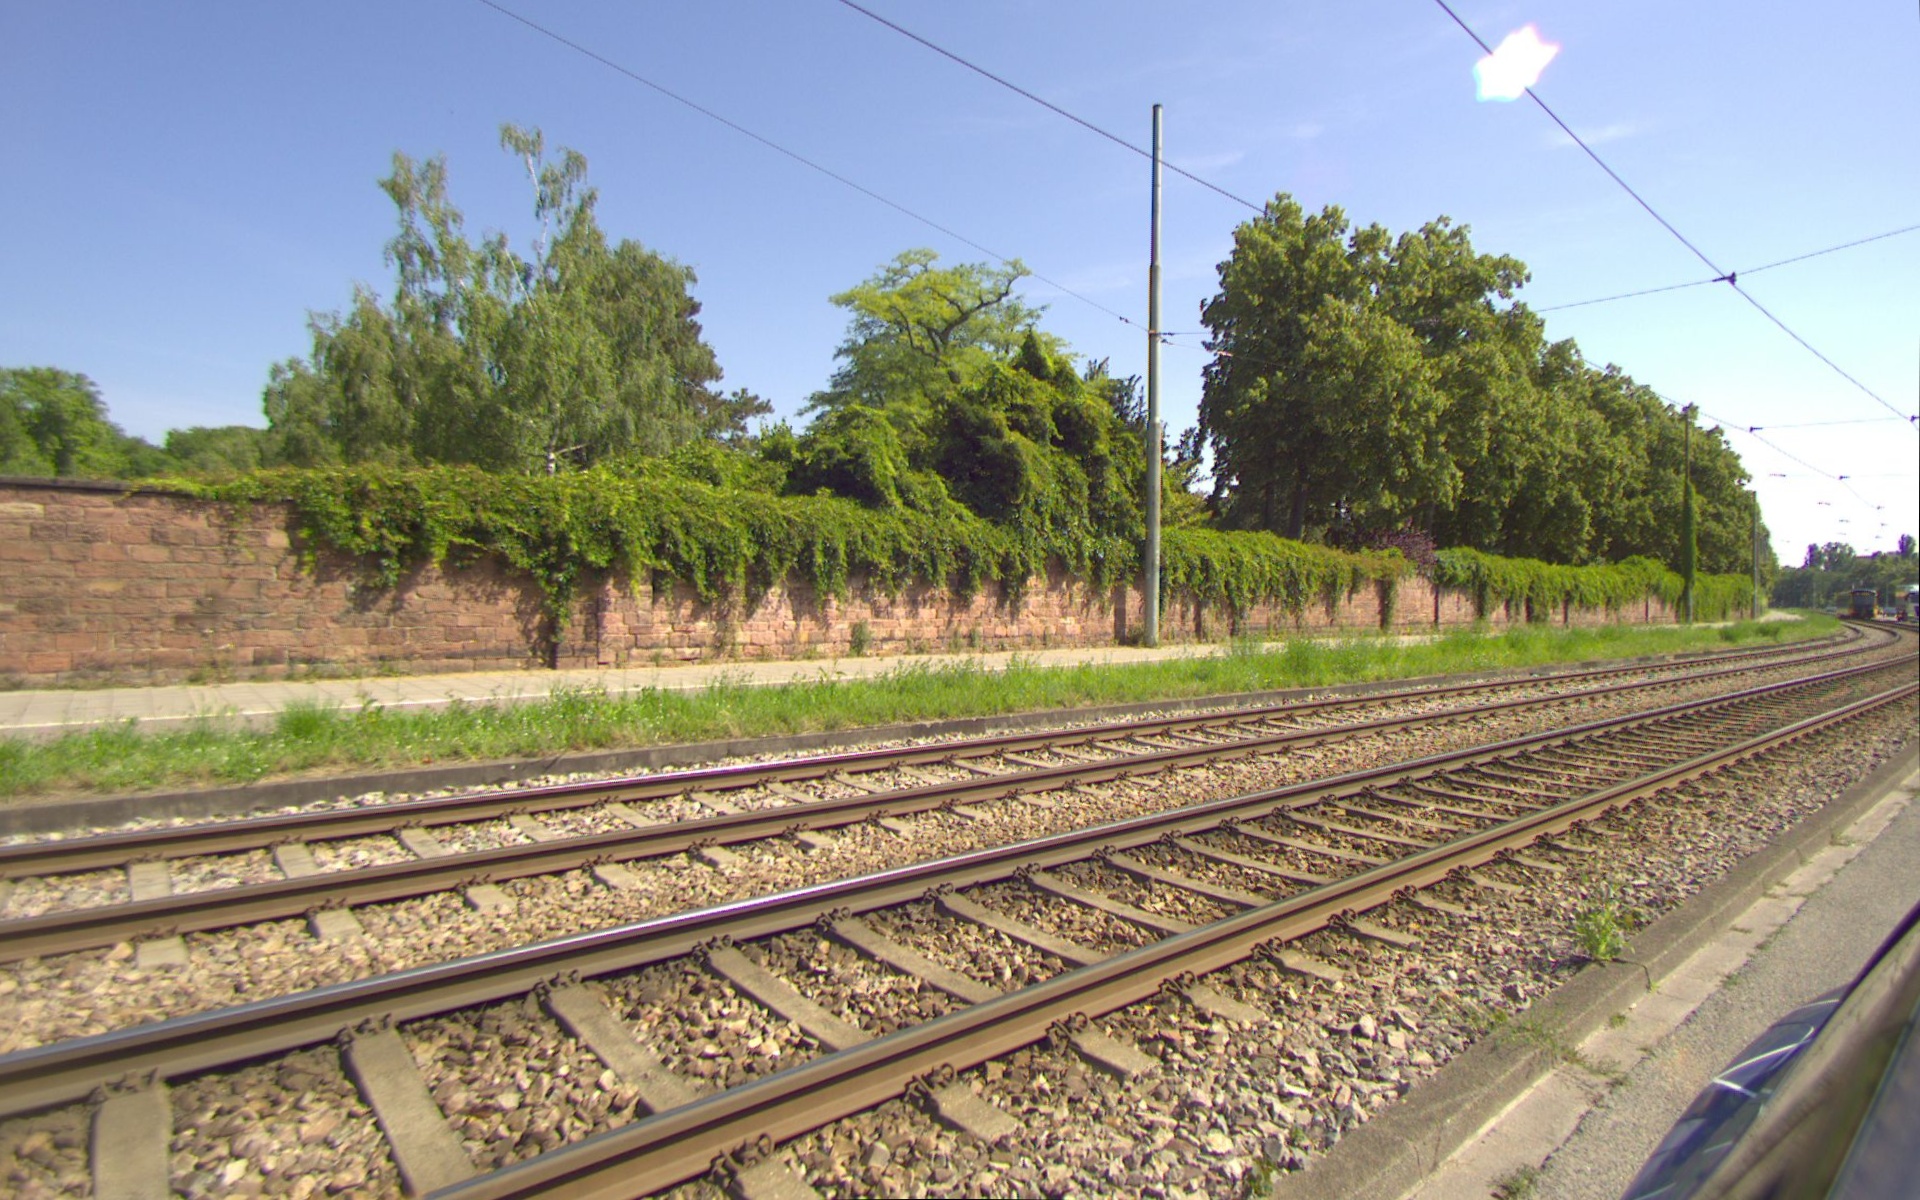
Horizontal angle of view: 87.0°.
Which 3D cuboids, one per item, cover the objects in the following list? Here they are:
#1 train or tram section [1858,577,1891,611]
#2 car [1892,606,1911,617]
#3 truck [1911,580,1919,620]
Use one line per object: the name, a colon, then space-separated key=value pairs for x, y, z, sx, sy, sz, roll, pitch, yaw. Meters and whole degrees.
train or tram section: x=110.927 y=-0.698 z=122.607 sx=2.713 sy=3.785 sz=18.585 roll=0 pitch=0 yaw=43
car: x=145.778 y=1.776 z=156.730 sx=1.847 sy=1.739 sz=3.941 roll=-2 pitch=-1 yaw=41
truck: x=102.481 y=0.002 z=106.802 sx=2.797 sy=3.999 sz=11.761 roll=2 pitch=1 yaw=42
